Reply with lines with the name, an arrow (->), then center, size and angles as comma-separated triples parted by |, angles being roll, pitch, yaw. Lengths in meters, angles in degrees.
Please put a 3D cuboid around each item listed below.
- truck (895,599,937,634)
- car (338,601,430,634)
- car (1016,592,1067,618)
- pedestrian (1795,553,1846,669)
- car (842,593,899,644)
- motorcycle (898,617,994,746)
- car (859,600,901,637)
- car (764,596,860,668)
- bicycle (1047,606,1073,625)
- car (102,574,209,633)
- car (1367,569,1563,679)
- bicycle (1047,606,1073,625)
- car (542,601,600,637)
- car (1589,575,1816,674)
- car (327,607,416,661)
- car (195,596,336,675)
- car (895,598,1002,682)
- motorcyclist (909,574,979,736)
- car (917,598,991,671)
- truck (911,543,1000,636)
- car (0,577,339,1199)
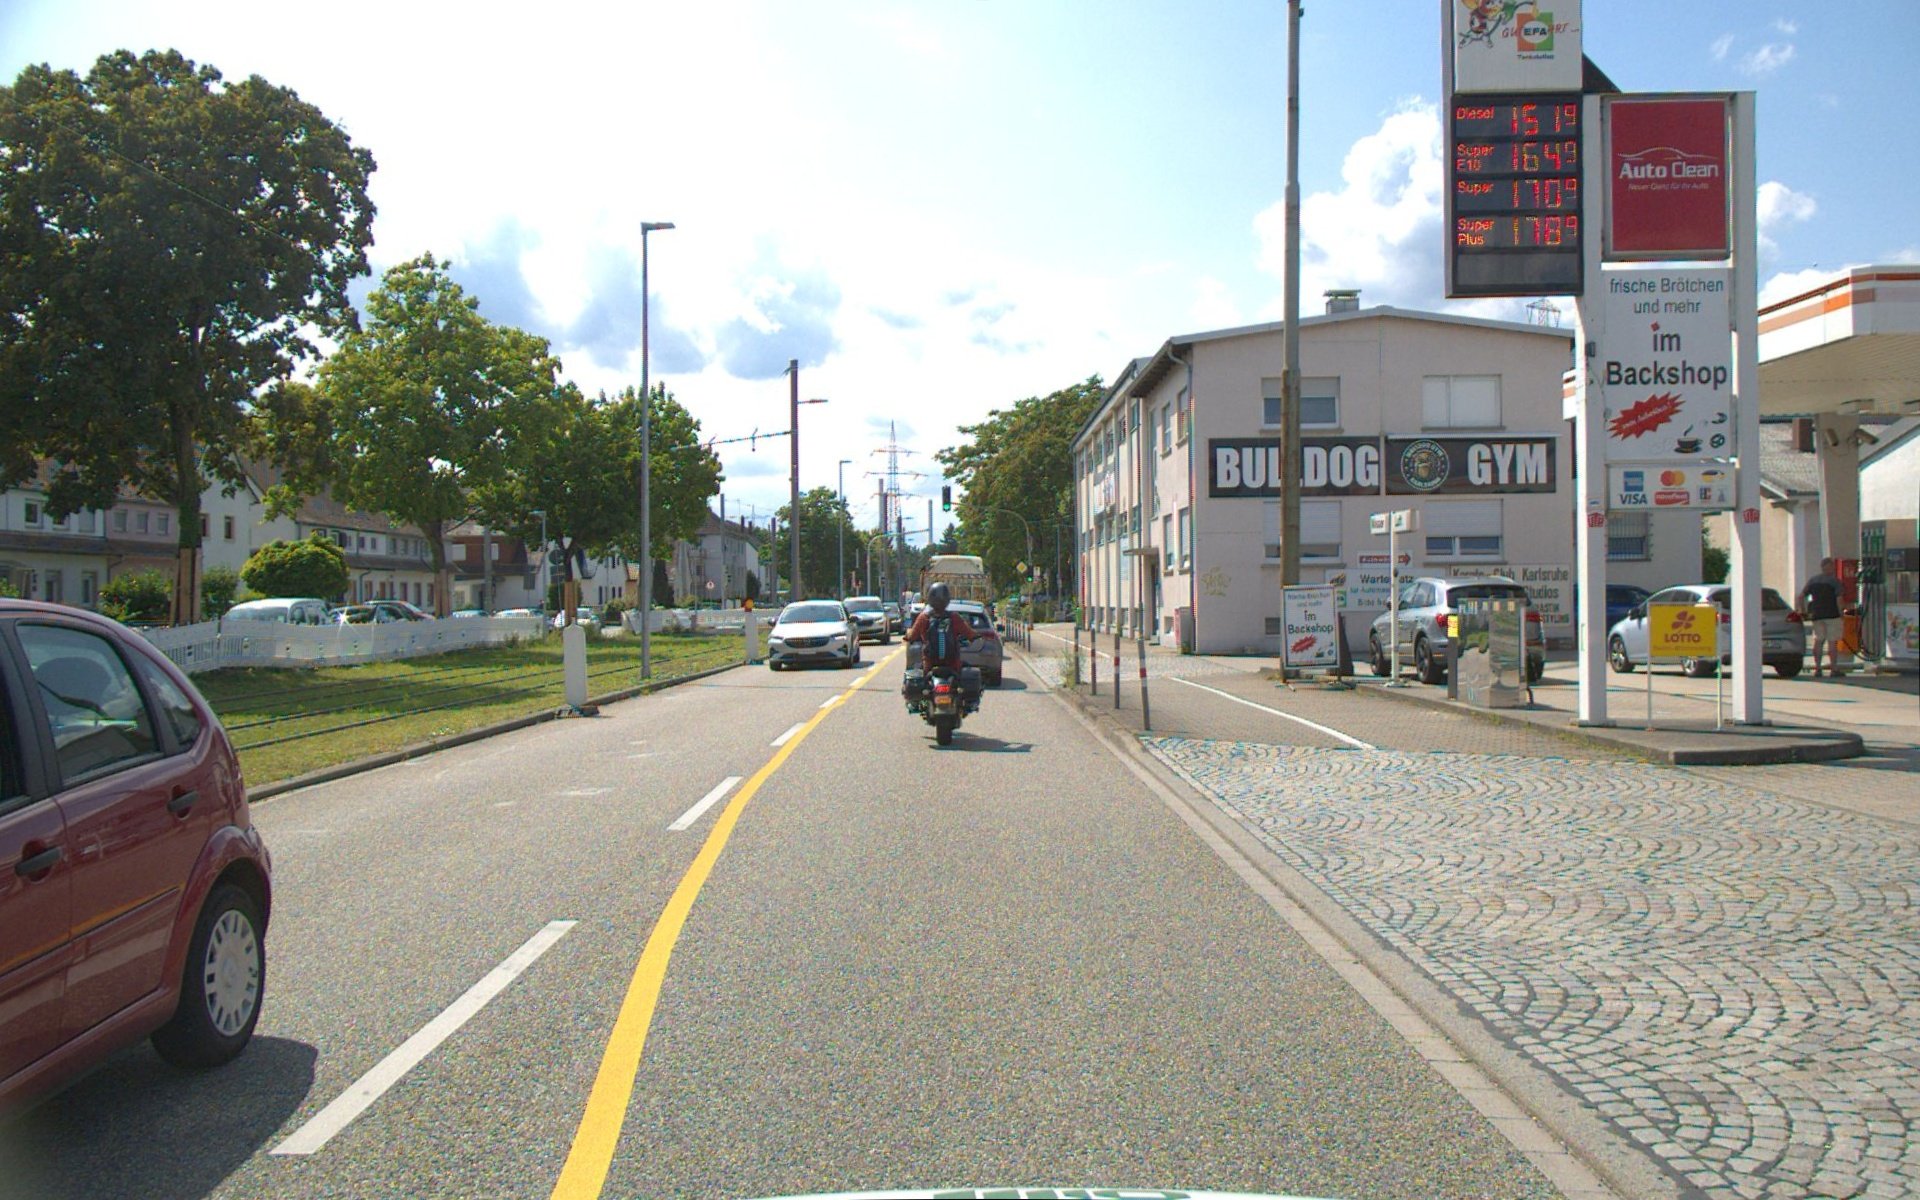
truck -> -2.547, 0.934, 97.231 | 1.781, 1.943, 5.119 | 1, 0, 5
car -> -28.363, 0.849, 81.475 | 3.905, 1.536, 1.725 | -1, 0, -1
car -> 6.272, 0.400, 127.188 | 1.773, 1.959, 3.971 | 0, -1, 45
pedestrian -> 13.607, 0.171, 26.160 | 0.486, 1.808, 0.577 | 1, -1, -3
car -> -3.157, 0.667, 59.022 | 1.787, 1.695, 4.461 | -2, -1, 0
motorcycle -> -0.135, 0.807, 17.453 | 0.923, 1.221, 2.472 | 1, 0, 0
car -> -3.507, 0.823, 73.102 | 1.658, 1.437, 3.858 | -4, -1, -1
car -> -3.262, 0.705, 37.164 | 1.784, 1.470, 4.482 | -2, -1, -1
bicycle -> 6.479, 0.976, 107.084 | 1.671, 1.192, 0.438 | 1, -1, 5
car -> -29.341, 0.133, 60.445 | 1.953, 2.049, 3.999 | 1, -1, -1
car -> 8.196, 0.370, 27.316 | 1.905, 1.653, 4.616 | 0, 0, 1
bicycle -> 6.526, 0.994, 107.669 | 1.671, 1.192, 0.438 | 1, -1, 5
car -> -15.742, 0.770, 67.070 | 1.490, 1.378, 3.621 | 1, -1, 0
car -> 12.409, 0.409, 27.977 | 1.658, 1.496, 4.421 | -2, -1, -3
car -> -16.140, 0.920, 45.490 | 1.322, 1.401, 3.114 | -2, -1, 0
car -> -16.011, 0.805, 38.323 | 1.589, 1.680, 3.899 | -2, -1, 0
car -> -0.280, 0.707, 31.085 | 1.697, 1.428, 4.082 | 2, 0, -4
motorcyclist -> -0.158, 0.560, 17.154 | 0.684, 1.632, 0.692 | 1, -1, 0
car -> -0.123, 0.859, 44.147 | 1.862, 1.742, 4.720 | -1, 1, 1
truck -> -0.058, -0.326, 62.040 | 2.905, 3.229, 7.766 | 1, -1, 3
car -> -3.007, 0.709, 4.055 | 1.546, 1.495, 3.720 | -1, 0, 0
